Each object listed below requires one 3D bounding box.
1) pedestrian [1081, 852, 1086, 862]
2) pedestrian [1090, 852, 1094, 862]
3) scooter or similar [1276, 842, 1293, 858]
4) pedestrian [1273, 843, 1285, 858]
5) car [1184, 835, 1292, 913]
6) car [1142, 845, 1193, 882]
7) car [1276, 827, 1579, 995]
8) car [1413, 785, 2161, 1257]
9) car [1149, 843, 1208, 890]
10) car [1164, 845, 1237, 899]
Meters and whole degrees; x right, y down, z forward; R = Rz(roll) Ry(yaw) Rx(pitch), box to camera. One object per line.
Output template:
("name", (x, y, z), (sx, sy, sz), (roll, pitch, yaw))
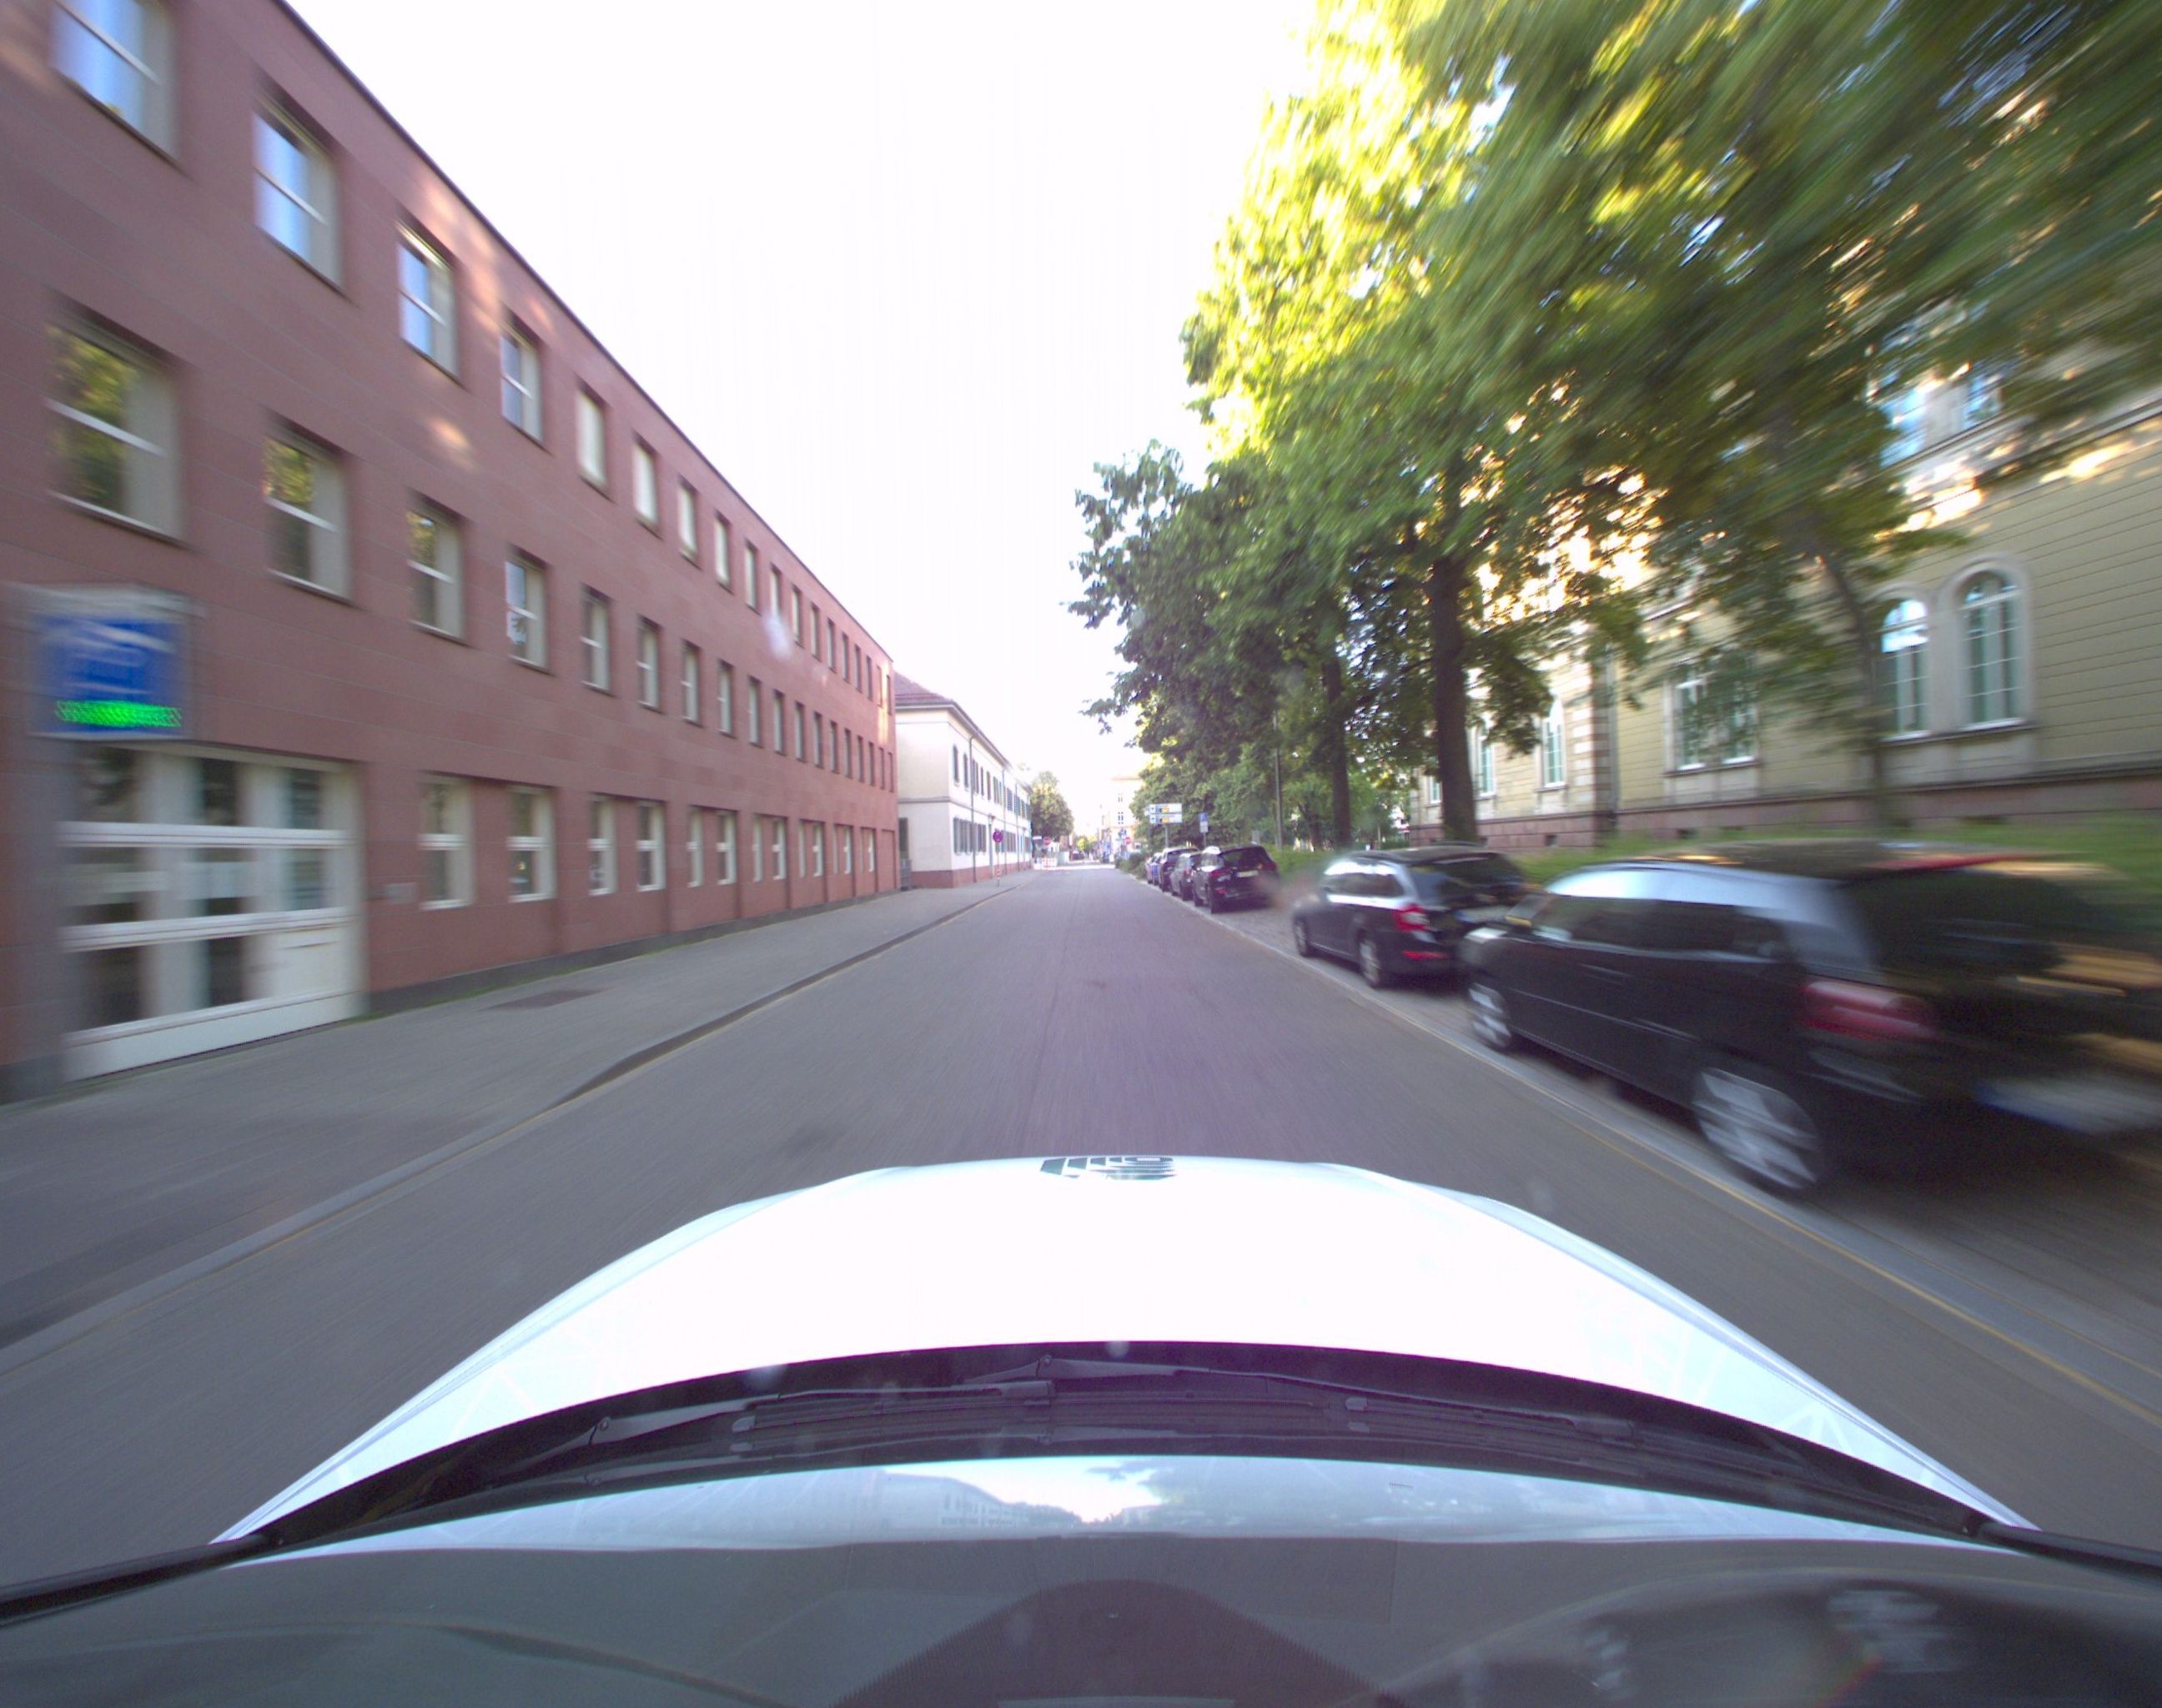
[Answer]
("pedestrian", (0.455, 0.574, 145.726), (0.655, 1.760, 0.745), (-2, 0, 1))
("pedestrian", (1.945, 0.534, 144.064), (0.655, 1.617, 0.745), (-2, 0, 0))
("scooter or similar", (16.474, -0.329, 65.894), (1.219, 1.245, 0.416), (-2, 0, -16))
("pedestrian", (16.221, -0.297, 66.782), (0.803, 1.191, 0.790), (-3, 0, 3))
("car", (3.968, 0.440, 21.326), (1.801, 1.651, 4.418), (-6, 1, 0))
("car", (4.017, 0.428, 38.435), (1.719, 1.488, 4.608), (-6, 0, -1))
("car", (3.828, 0.560, 9.976), (1.729, 1.506, 4.521), (-3, -1, 0))
("car", (3.721, 0.581, 4.964), (1.717, 1.533, 4.192), (-6, -1, 3))
("car", (3.792, 0.467, 32.288), (1.718, 1.651, 4.712), (-3, -1, 0))
("car", (3.806, 0.554, 26.562), (1.718, 1.538, 4.188), (-3, -1, 0))
